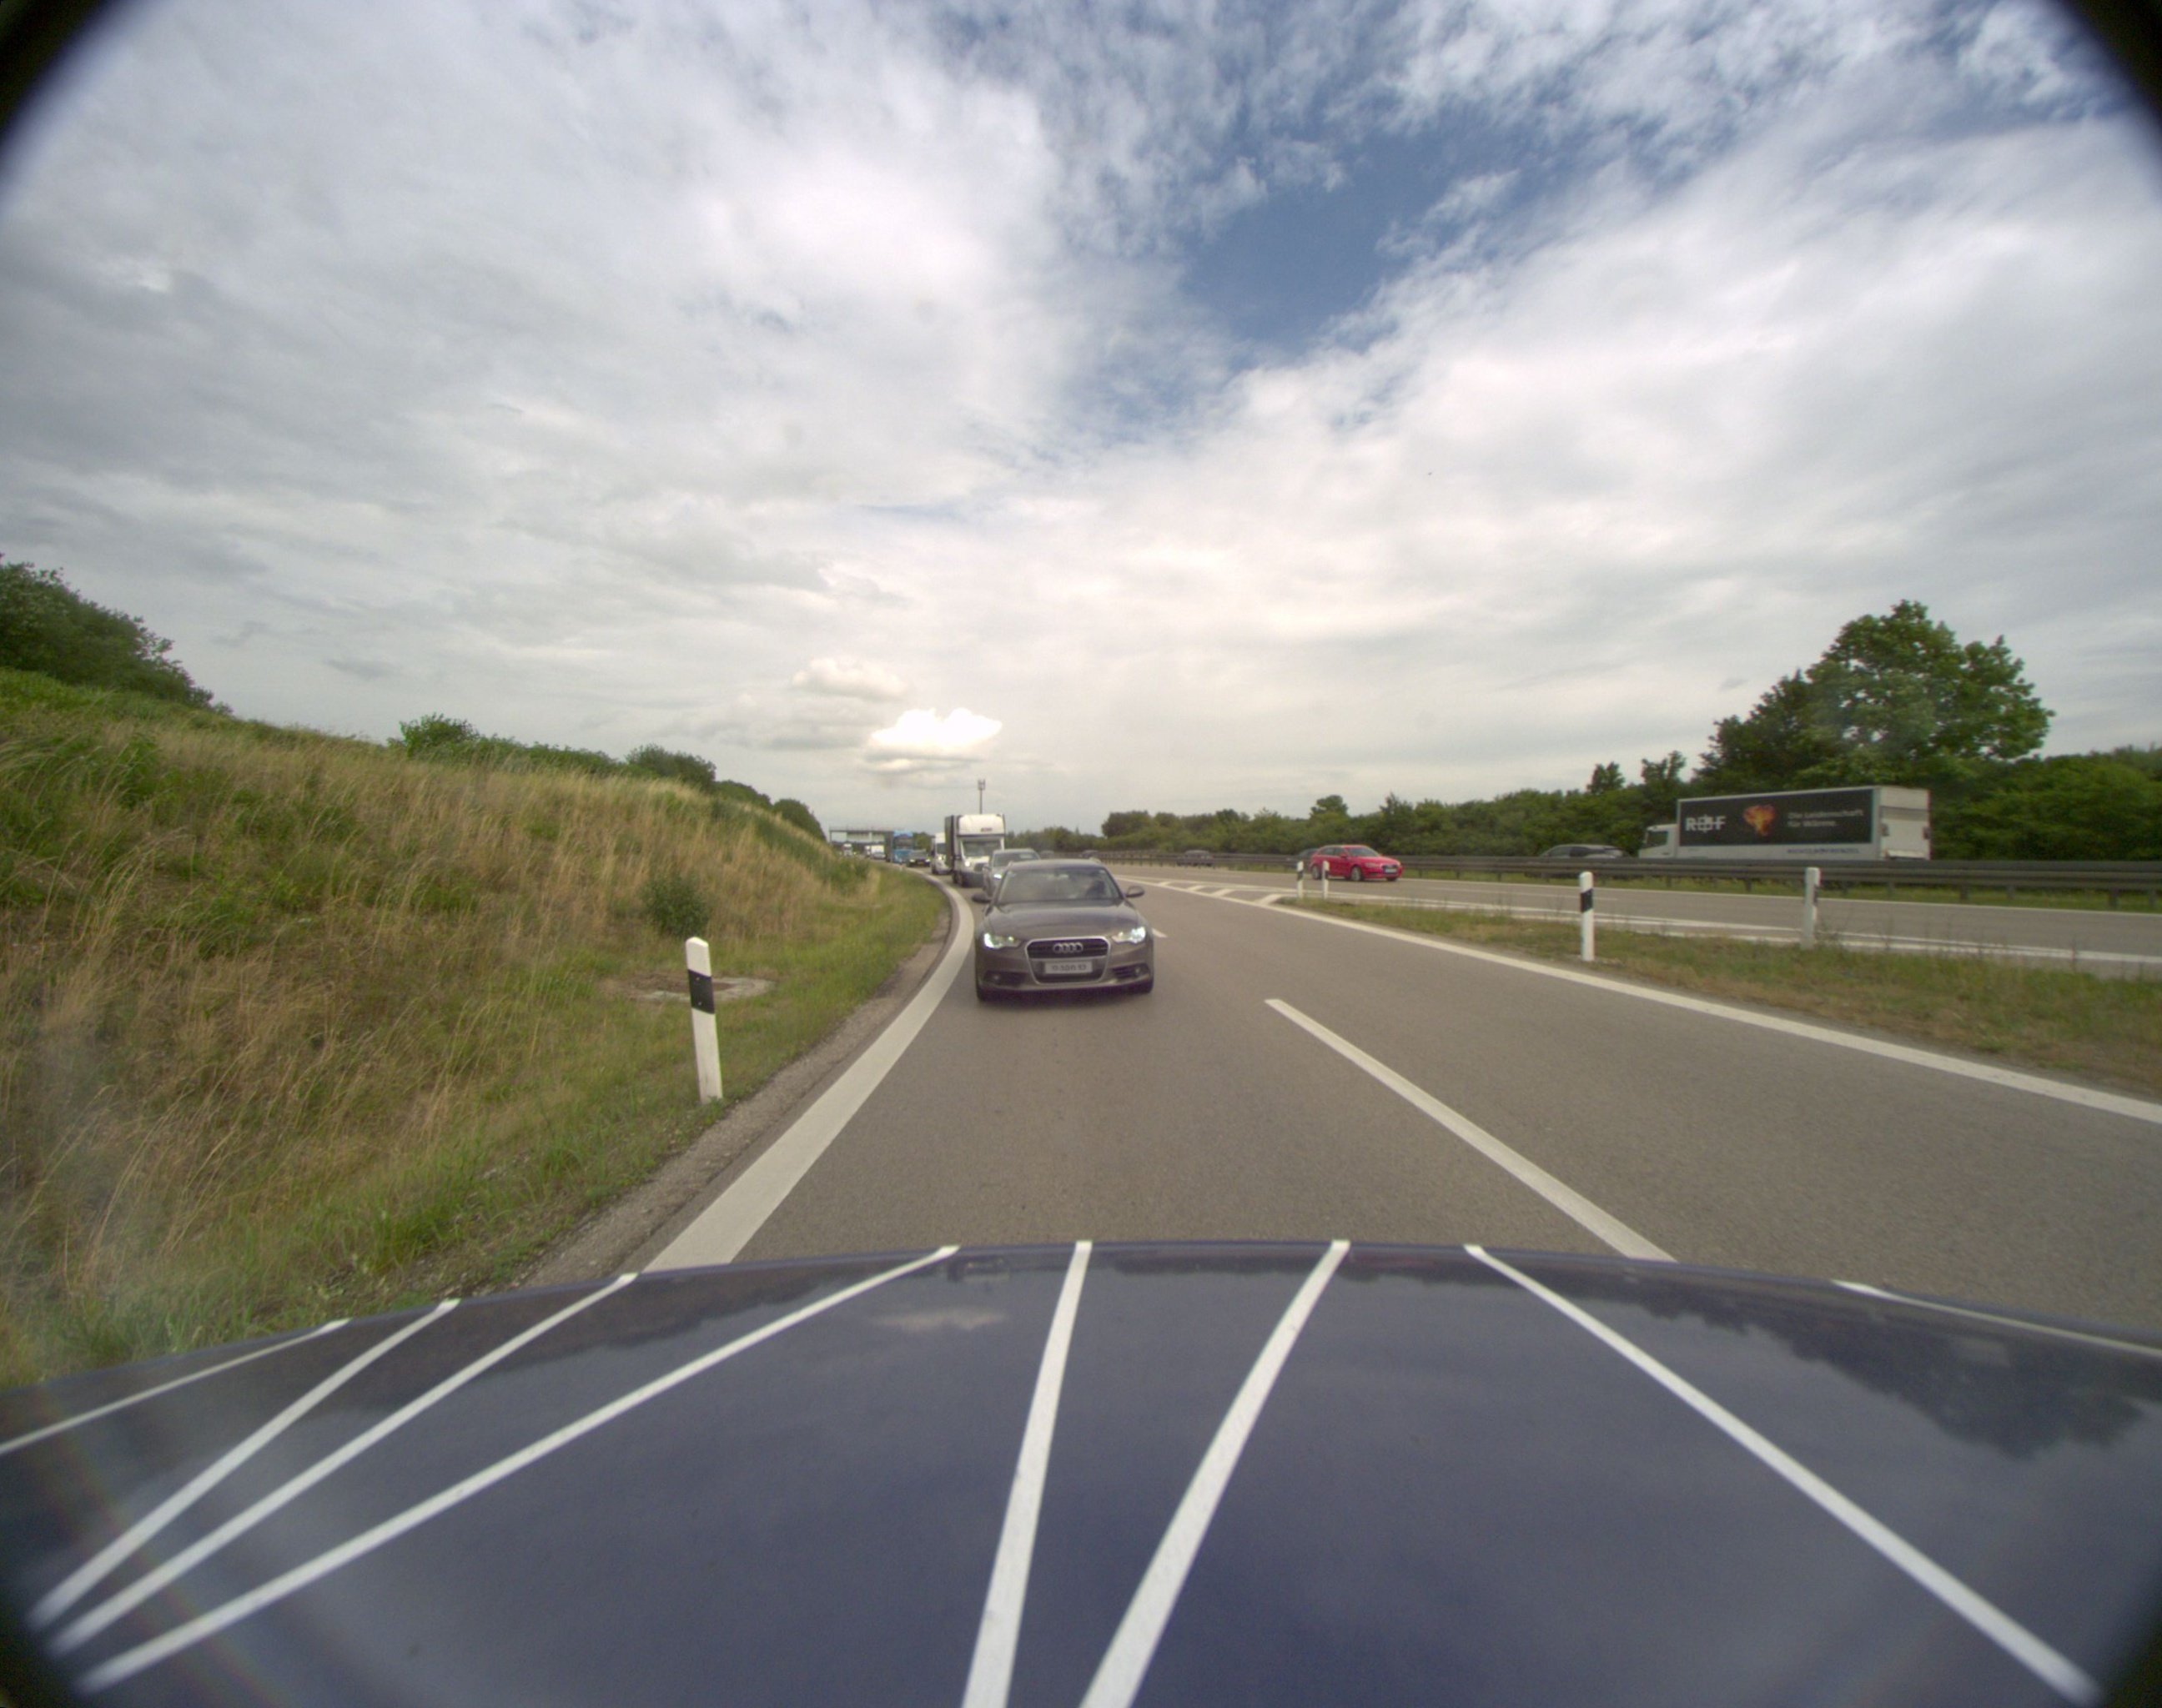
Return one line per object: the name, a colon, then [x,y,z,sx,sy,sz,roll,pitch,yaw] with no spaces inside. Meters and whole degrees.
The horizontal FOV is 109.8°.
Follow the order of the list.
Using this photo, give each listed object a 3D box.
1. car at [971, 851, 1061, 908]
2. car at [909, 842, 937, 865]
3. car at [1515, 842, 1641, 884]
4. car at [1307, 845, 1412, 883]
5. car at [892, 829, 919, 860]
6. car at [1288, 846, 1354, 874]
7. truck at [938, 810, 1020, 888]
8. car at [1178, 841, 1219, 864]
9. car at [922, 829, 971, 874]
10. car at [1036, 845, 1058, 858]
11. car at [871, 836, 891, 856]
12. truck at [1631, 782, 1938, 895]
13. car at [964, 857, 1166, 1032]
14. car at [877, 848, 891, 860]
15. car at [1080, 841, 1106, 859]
car: [-2.142,0.710,23.791,2.001,1.567,3.993,-1,1,-17]
car: [-14.413,-0.048,69.021,2.002,2.002,3.993,-1,1,-18]
car: [20.177,0.334,31.055,1.880,1.565,3.993,-1,1,-18]
car: [10.914,0.347,30.055,1.749,1.334,3.993,-1,1,-19]
car: [-22.031,-1.203,95.157,2.508,3.690,7.688,-1,1,-19]
car: [14.948,0.332,47.487,2.001,1.619,3.993,-1,1,-17]
truck: [-4.846,-0.272,35.036,2.452,3.217,7.179,-1,1,-18]
car: [10.426,-0.171,67.743,1.932,2.002,4.211,-1,1,-17]
car: [-8.908,-0.178,49.874,2.023,2.729,6.916,-1,1,-19]
car: [-4.739,-0.350,106.066,2.002,1.674,3.993,-1,1,-19]
car: [-35.937,-1.386,136.609,2.950,3.447,6.559,-1,1,-19]
truck: [25.763,-0.547,28.595,2.770,3.625,8.183,-1,1,-17]
car: [-0.326,0.848,9.143,1.849,1.489,4.026,-2,1,-5]
car: [-33.693,-0.020,129.804,1.933,2.020,3.993,-1,1,-18]
car: [1.377,-0.450,89.123,1.932,2.002,4.211,-1,1,-17]
